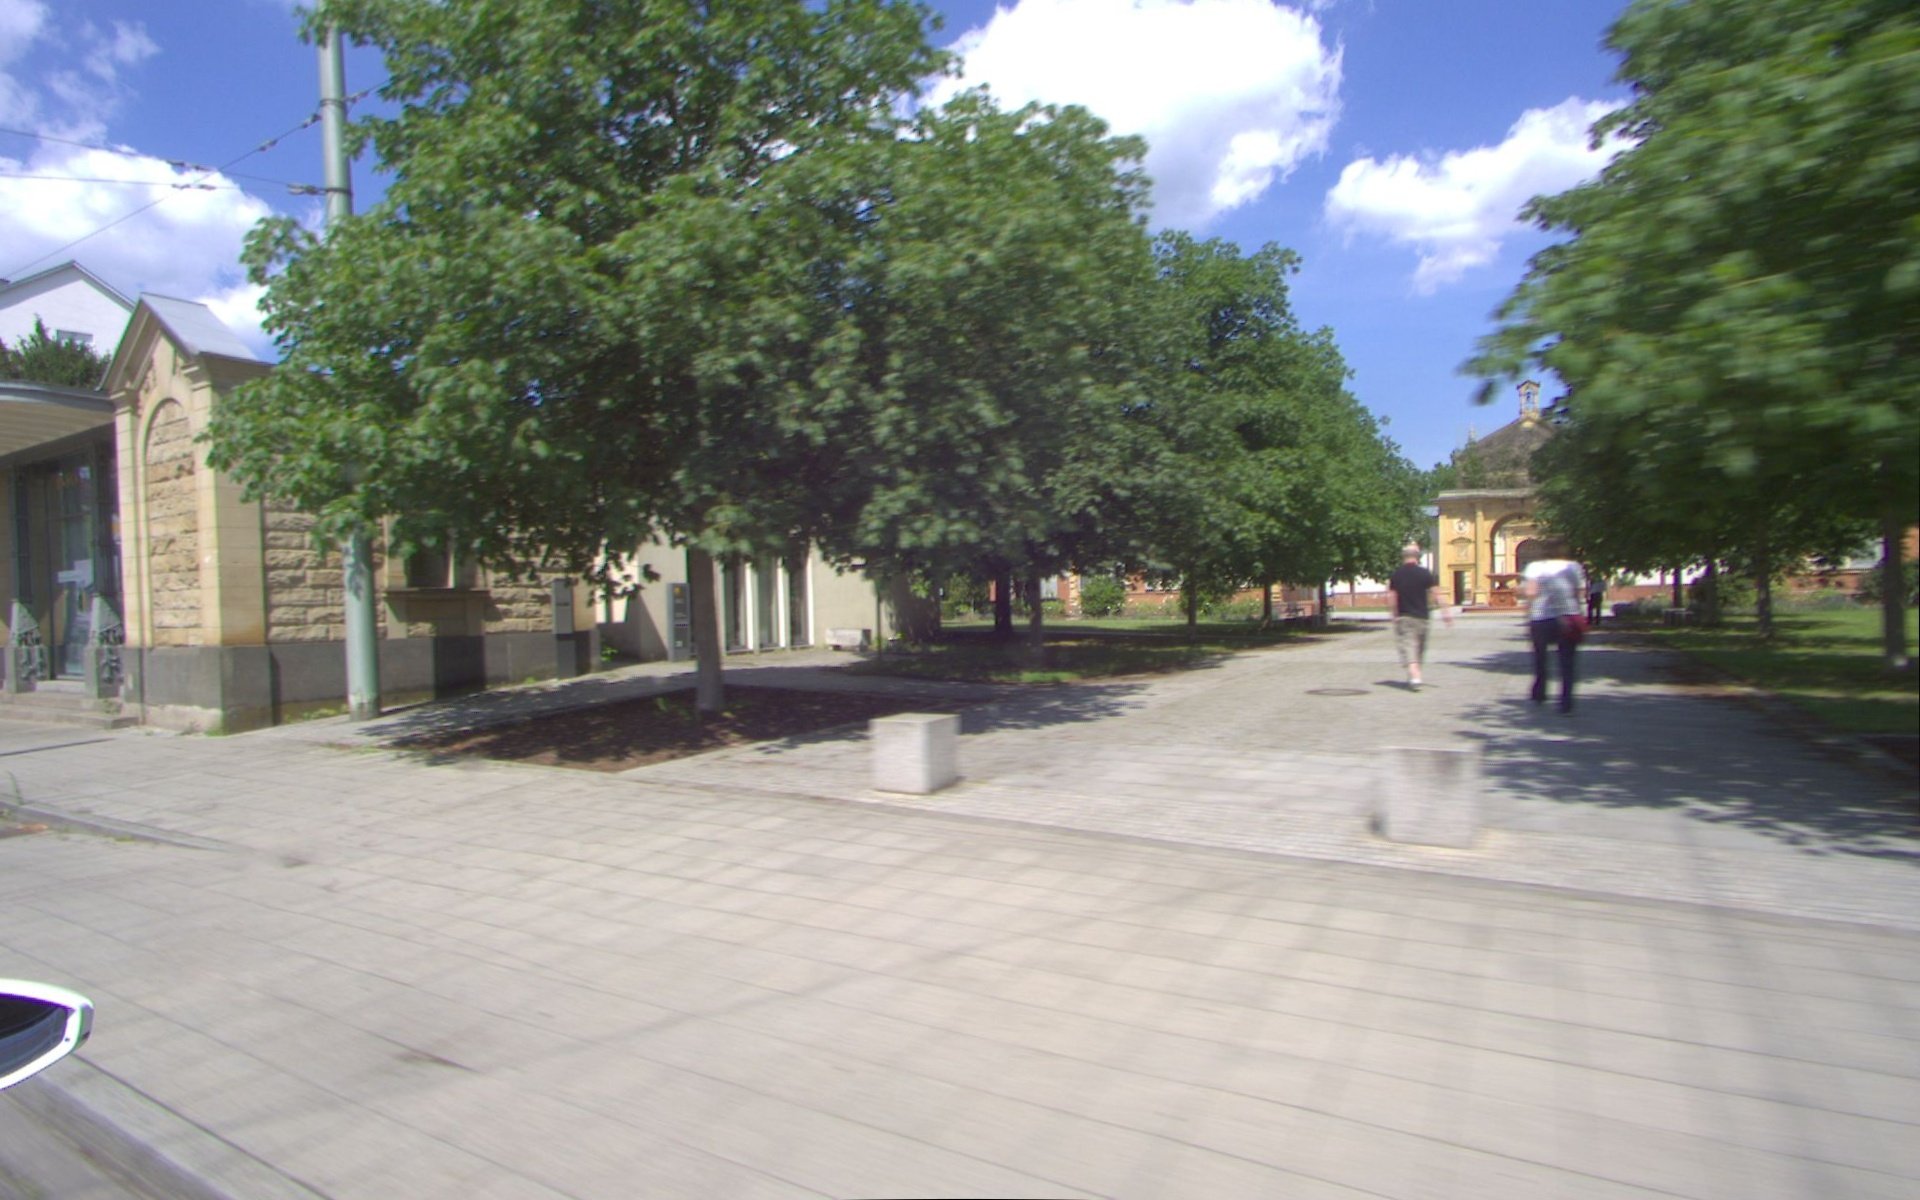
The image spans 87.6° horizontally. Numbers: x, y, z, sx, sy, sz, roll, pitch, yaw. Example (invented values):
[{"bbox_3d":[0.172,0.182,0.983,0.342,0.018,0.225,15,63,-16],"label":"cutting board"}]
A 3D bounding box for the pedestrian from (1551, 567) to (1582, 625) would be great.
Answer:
[{"bbox_3d":[19.507,-0.130,32.191,0.799,1.822,0.674,-1,1,36],"label":"pedestrian"}]

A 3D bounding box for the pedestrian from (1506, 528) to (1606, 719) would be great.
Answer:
[{"bbox_3d":[5.977,0.228,10.043,0.799,1.822,0.674,-1,1,36],"label":"pedestrian"}]

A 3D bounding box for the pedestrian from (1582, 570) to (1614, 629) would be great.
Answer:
[{"bbox_3d":[19.896,-0.011,31.214,0.799,1.822,0.674,-1,1,36],"label":"pedestrian"}]

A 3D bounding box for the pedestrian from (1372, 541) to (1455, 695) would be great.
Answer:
[{"bbox_3d":[5.545,0.218,12.235,0.799,1.804,0.674,-1,1,36],"label":"pedestrian"}]
